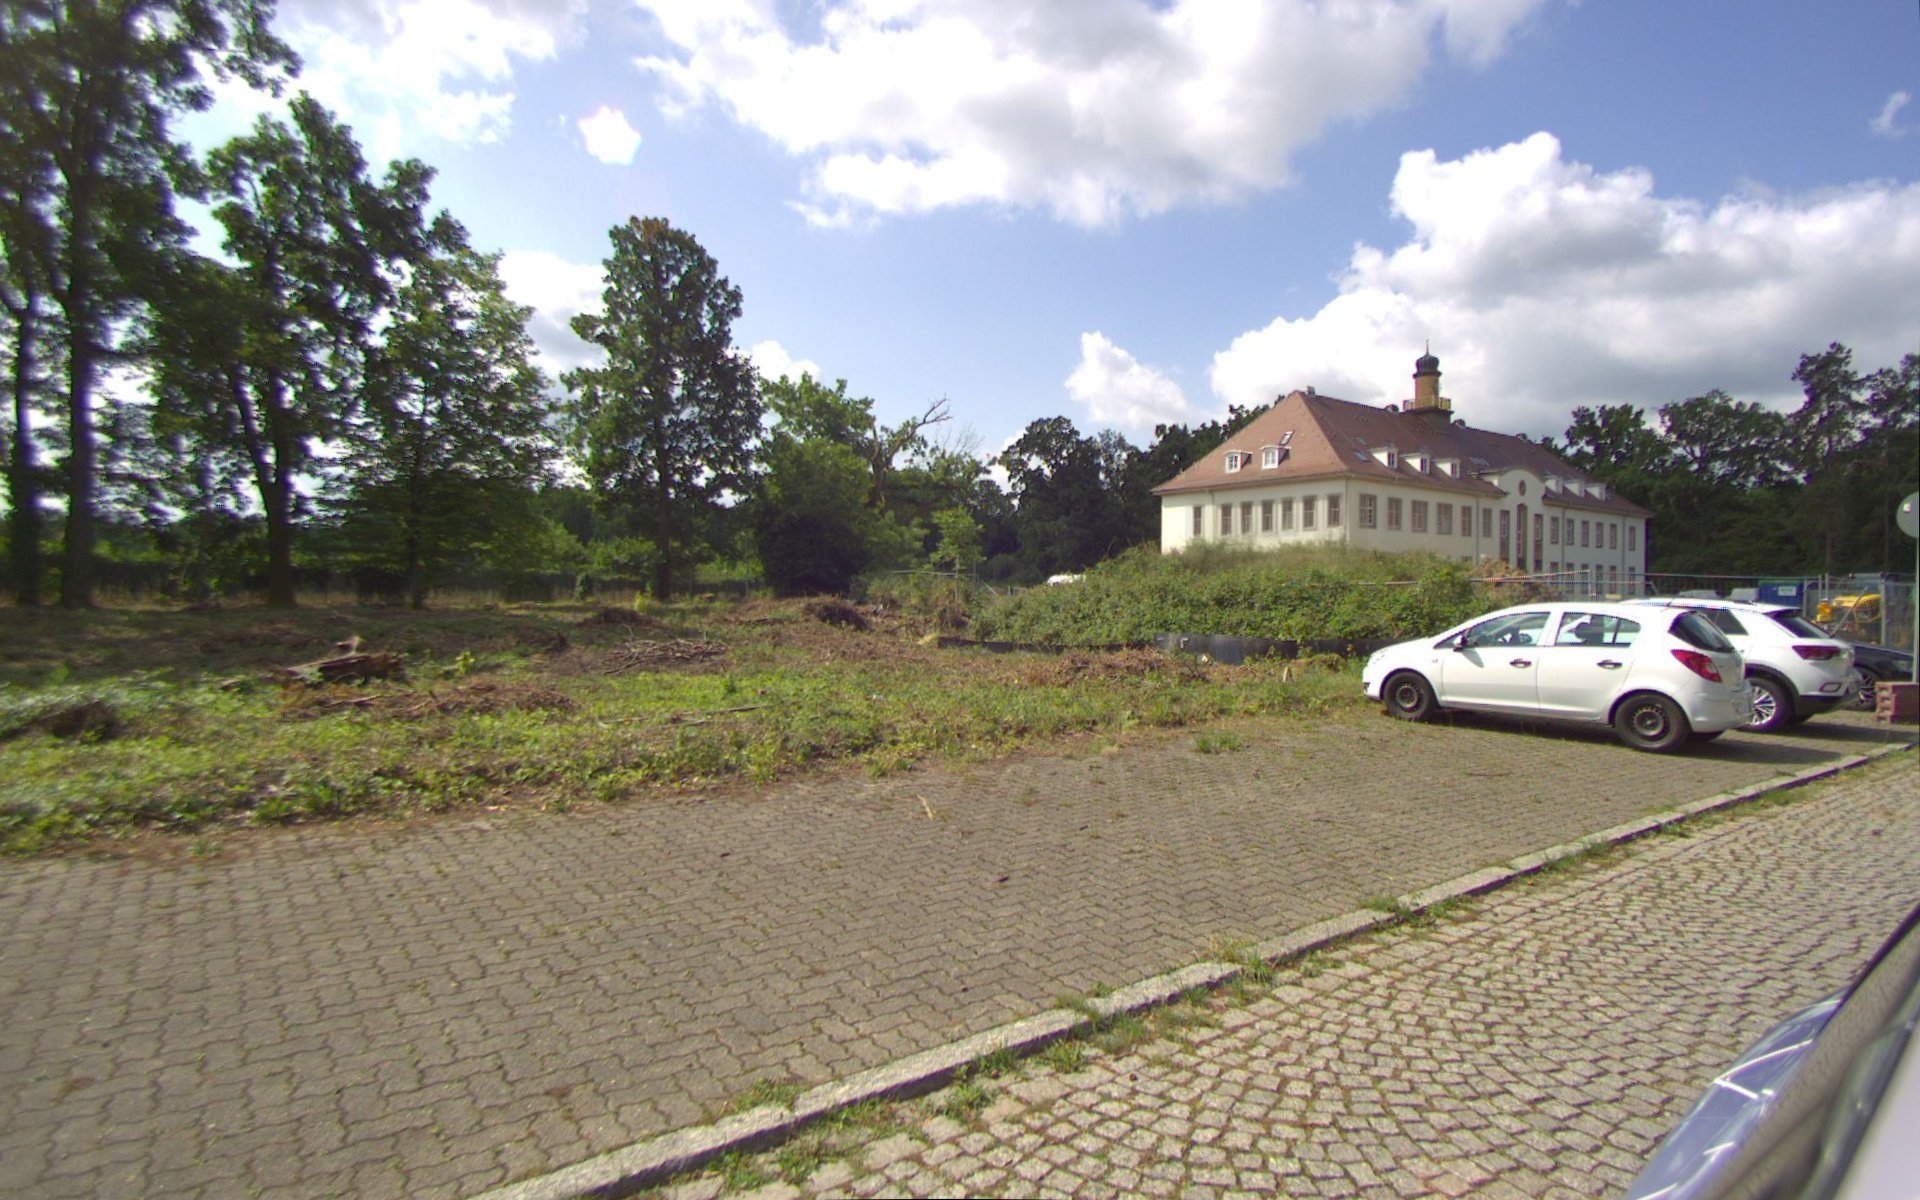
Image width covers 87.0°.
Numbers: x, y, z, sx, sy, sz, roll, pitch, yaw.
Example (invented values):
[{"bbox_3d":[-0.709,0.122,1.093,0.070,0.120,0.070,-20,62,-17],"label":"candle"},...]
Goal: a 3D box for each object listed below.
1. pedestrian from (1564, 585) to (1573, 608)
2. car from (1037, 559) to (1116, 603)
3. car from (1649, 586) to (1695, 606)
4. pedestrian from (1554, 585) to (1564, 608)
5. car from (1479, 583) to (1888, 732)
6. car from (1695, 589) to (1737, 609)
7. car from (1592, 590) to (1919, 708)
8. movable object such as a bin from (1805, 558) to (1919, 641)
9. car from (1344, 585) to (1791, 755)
[{"bbox_3d":[48.850,-0.287,81.282,0.497,1.810,0.491,1,0,-39],"label":"pedestrian"},{"bbox_3d":[7.249,-1.190,63.492,2.201,2.623,5.446,0,1,-28],"label":"car"},{"bbox_3d":[63.808,-0.392,90.697,4.618,1.749,1.886,0,1,-35],"label":"car"},{"bbox_3d":[47.641,-0.284,80.515,0.496,1.810,0.492,0,0,-13],"label":"pedestrian"},{"bbox_3d":[9.236,0.600,13.213,1.715,1.525,3.998,0,2,-38],"label":"car"},{"bbox_3d":[65.812,-0.112,88.045,3.963,1.704,1.804,0,1,-35],"label":"car"},{"bbox_3d":[12.774,0.668,15.940,1.715,1.493,4.464,0,2,-40],"label":"car"},{"bbox_3d":[30.901,0.020,32.767,5.540,2.553,2.153,2,1,-7],"label":"movable object such as a bin"},{"bbox_3d":[6.733,0.630,11.619,1.673,1.482,4.053,0,2,-38],"label":"car"}]
